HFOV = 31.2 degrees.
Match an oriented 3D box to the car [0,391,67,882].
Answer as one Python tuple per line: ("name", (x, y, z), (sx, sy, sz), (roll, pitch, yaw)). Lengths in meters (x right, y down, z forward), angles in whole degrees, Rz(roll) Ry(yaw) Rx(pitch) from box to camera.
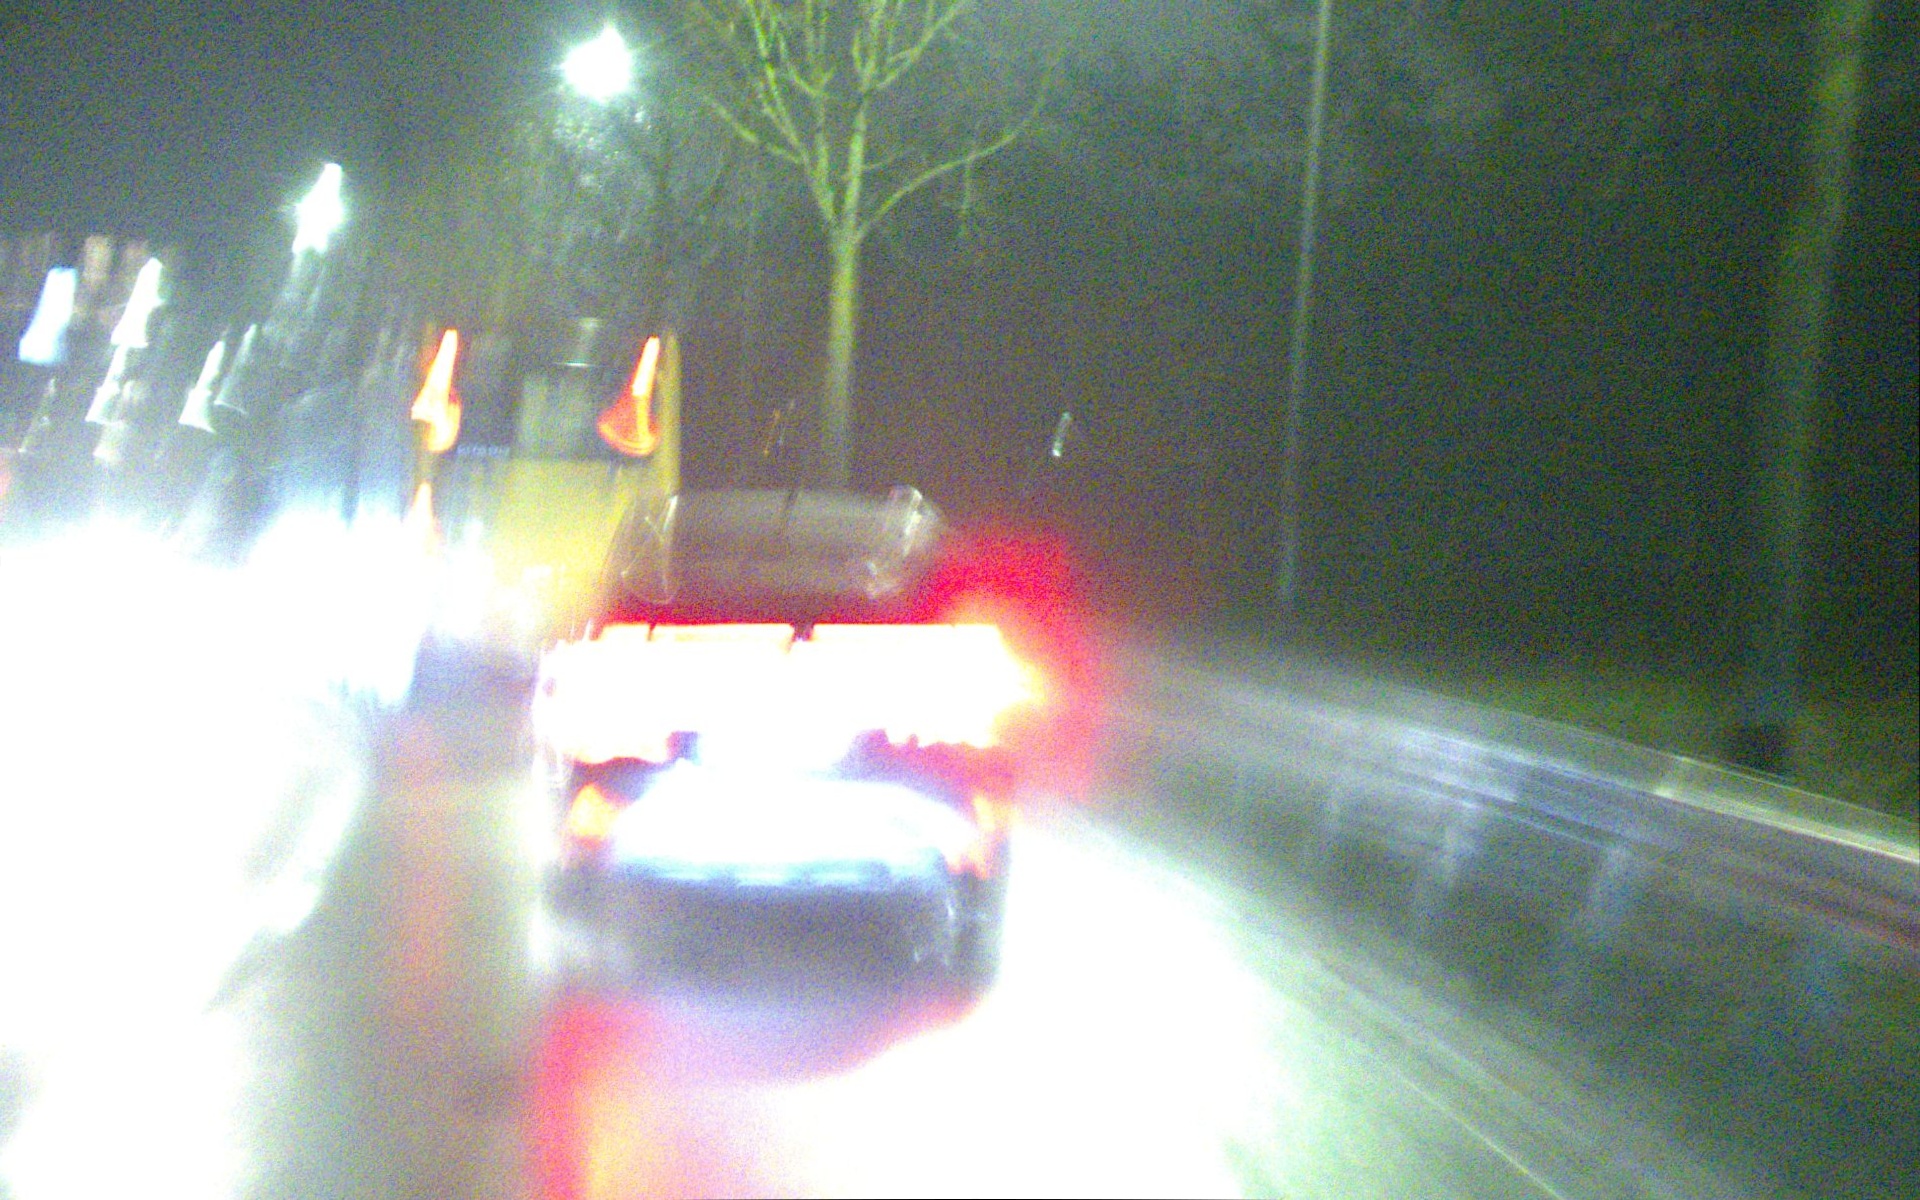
("car", (-5.019, 0.153, 13.275), (2.448, 1.981, 5.495), (0, 1, -8))

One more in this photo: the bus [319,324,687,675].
("bus", (-5.025, -1.005, 36.137), (3.042, 3.201, 9.053), (0, 1, -13))

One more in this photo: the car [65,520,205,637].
("car", (-18.136, -0.502, 75.368), (2.697, 2.469, 5.307), (0, 1, -17))

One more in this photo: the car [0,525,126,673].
("car", (-9.394, -0.049, 34.661), (1.728, 1.400, 3.864), (0, 1, -11))

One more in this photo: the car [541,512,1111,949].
("car", (-0.601, 0.422, 14.220), (1.993, 1.519, 4.001), (1, 1, -4))
